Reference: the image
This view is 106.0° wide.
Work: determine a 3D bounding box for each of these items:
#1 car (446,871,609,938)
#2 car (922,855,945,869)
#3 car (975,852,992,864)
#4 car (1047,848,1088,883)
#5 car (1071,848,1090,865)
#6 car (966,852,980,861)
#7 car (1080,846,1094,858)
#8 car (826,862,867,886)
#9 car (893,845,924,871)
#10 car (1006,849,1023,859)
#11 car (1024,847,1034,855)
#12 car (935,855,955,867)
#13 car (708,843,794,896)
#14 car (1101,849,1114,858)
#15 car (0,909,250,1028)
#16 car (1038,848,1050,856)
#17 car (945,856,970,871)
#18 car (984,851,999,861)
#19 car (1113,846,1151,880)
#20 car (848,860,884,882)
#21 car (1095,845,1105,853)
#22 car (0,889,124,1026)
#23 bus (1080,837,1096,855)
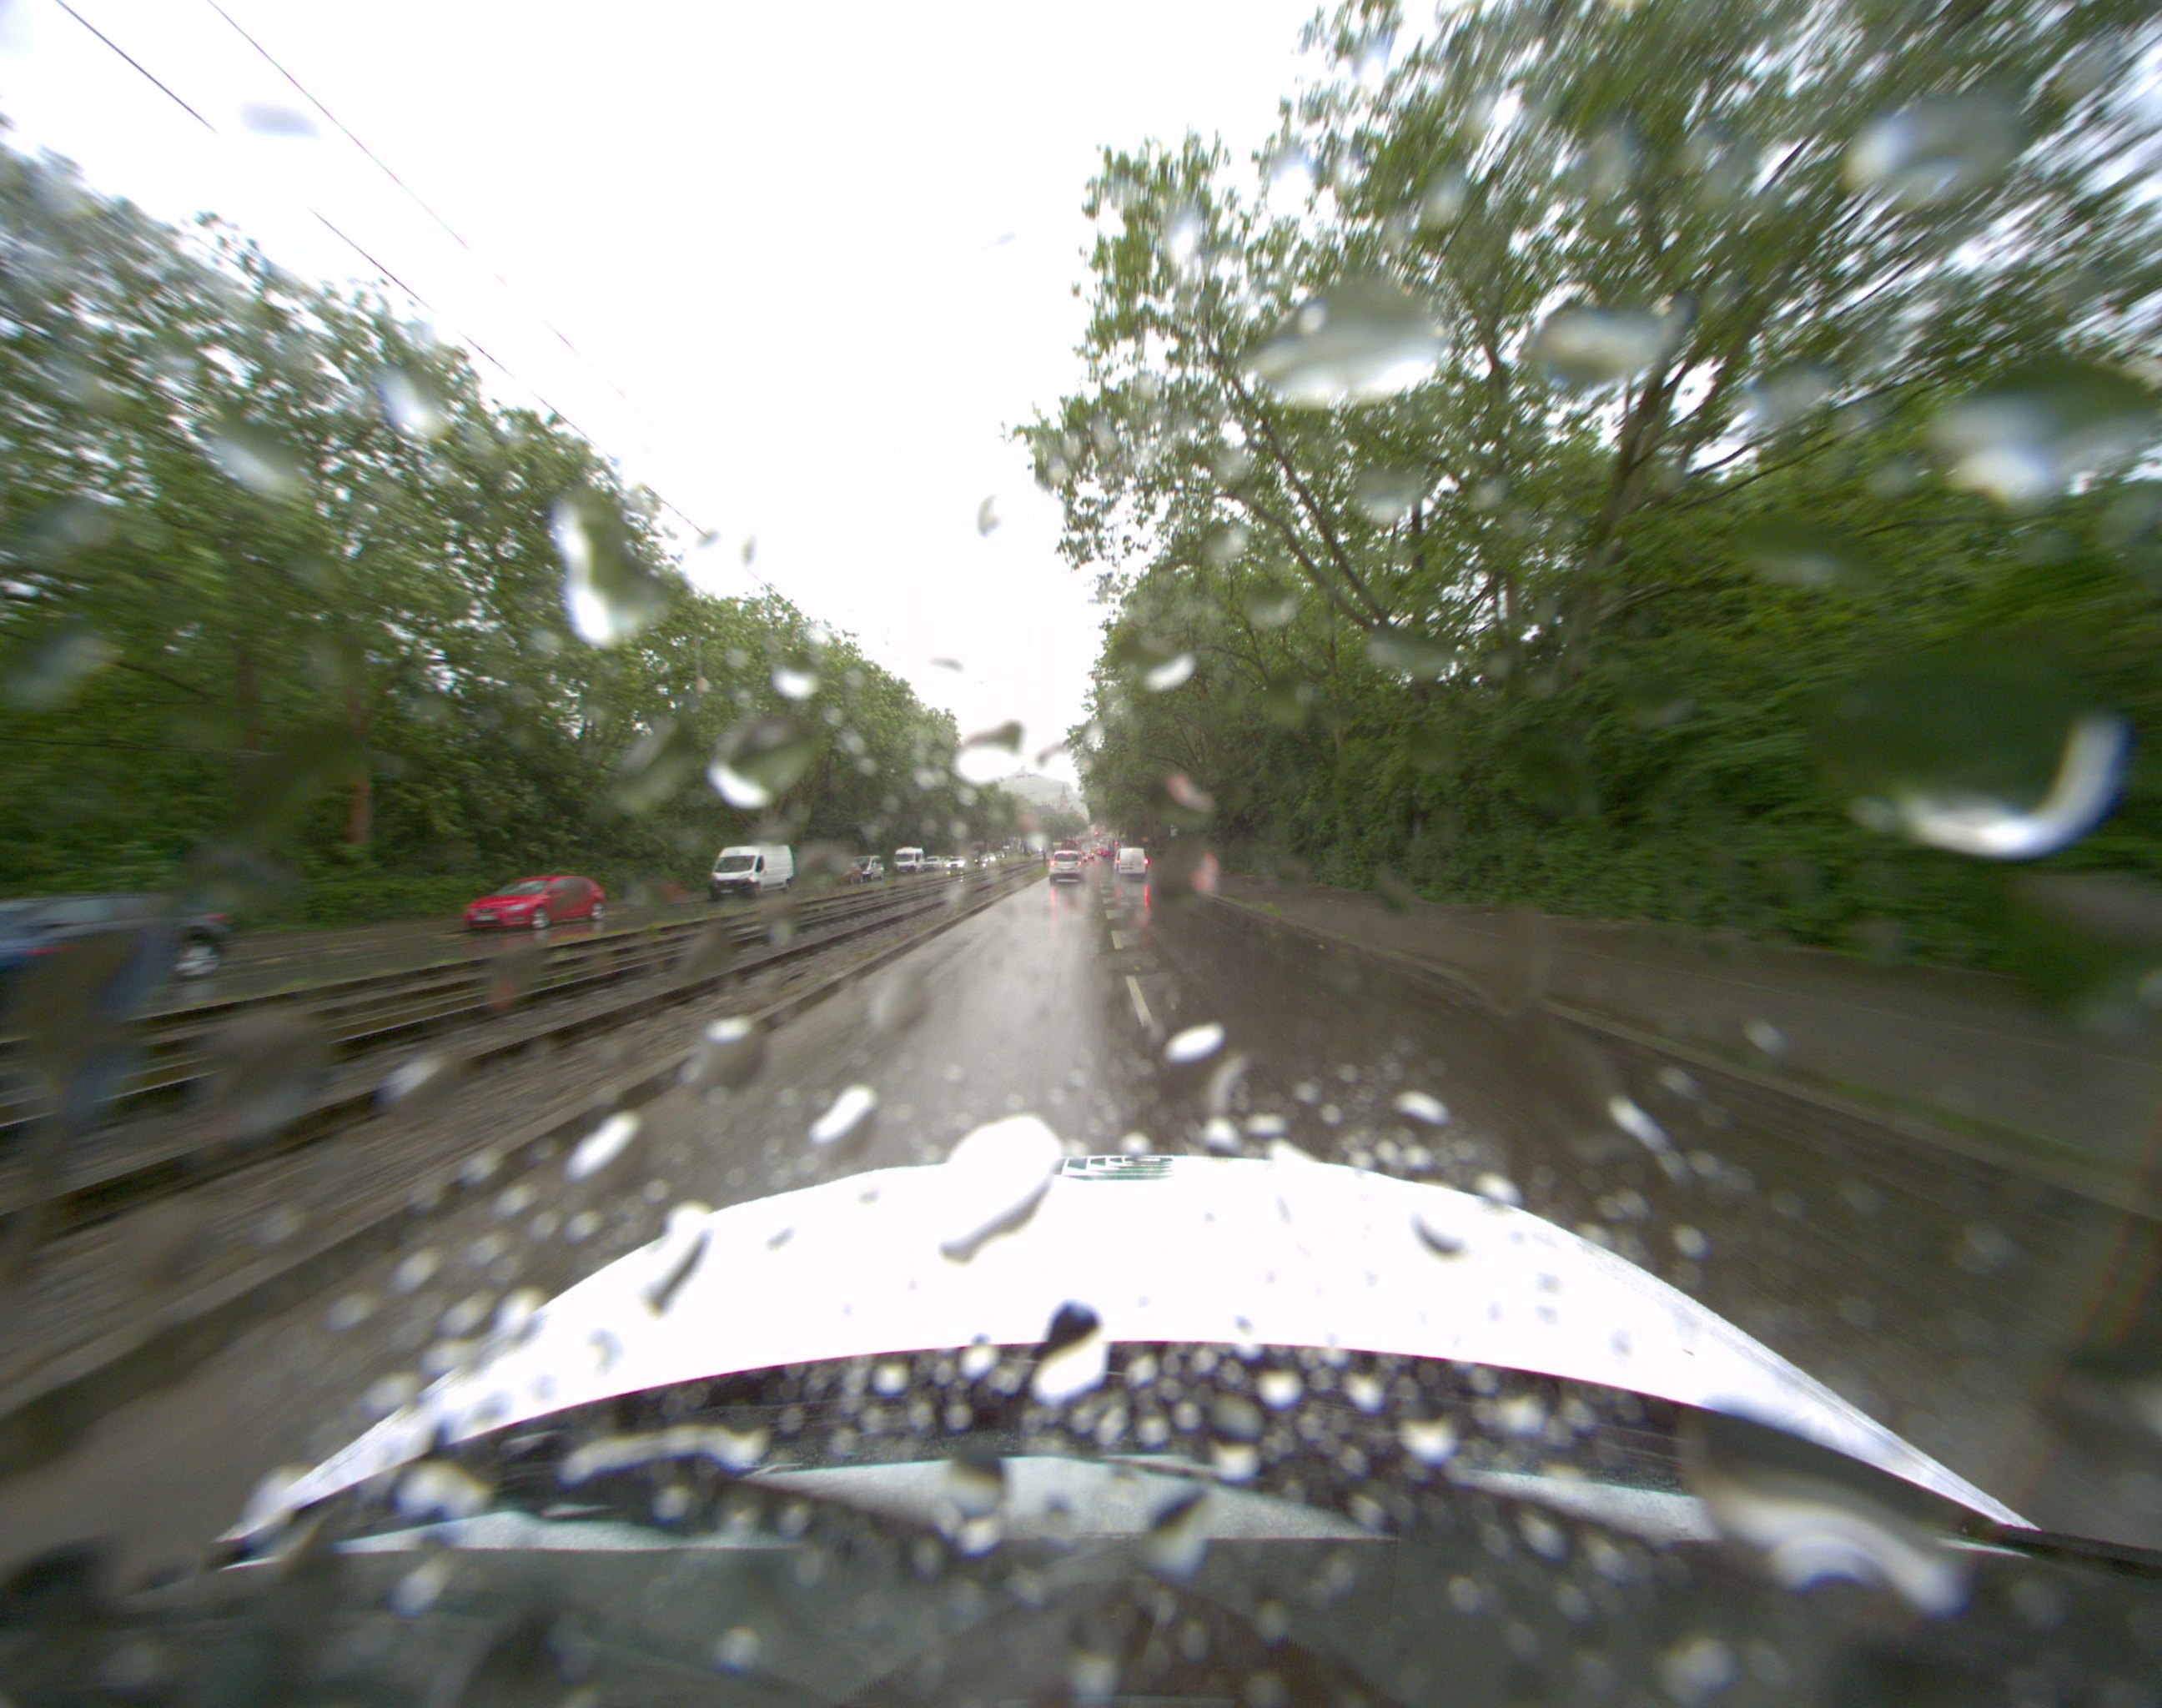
[{"bbox_3d":[-15.474,1.358,23.095,1.604,1.442,4.262,-3,1,0],"label":"car"},{"bbox_3d":[-16.495,0.838,91.311,1.799,1.350,4.263,-3,1,0],"label":"car"},{"bbox_3d":[-13.222,0.568,110.477,1.799,1.350,4.263,-3,1,0],"label":"car"},{"bbox_3d":[-0.655,0.572,43.118,1.986,1.716,4.002,0,1,2],"label":"car"},{"bbox_3d":[-0.053,0.237,90.120,1.986,1.826,4.002,0,1,2],"label":"car"},{"bbox_3d":[-18.645,0.369,140.301,1.799,1.350,4.263,-3,1,0],"label":"car"},{"bbox_3d":[0.899,-0.352,124.689,1.986,1.826,4.002,0,1,2],"label":"car"},{"bbox_3d":[-15.634,1.311,54.391,1.501,1.350,4.027,-3,1,0],"label":"car"},{"bbox_3d":[-15.928,0.359,75.200,1.795,2.221,4.277,-3,1,0],"label":"car"},{"bbox_3d":[-11.114,0.012,137.065,1.794,1.350,4.275,-3,1,9],"label":"car"},{"bbox_3d":[-10.315,-0.539,161.795,1.799,1.350,4.263,-3,1,0],"label":"car"},{"bbox_3d":[-18.127,0.930,108.766,1.799,1.350,4.263,-3,1,0],"label":"car"},{"bbox_3d":[-15.613,0.655,38.938,1.736,2.169,5.811,-4,1,-1],"label":"car"},{"bbox_3d":[4.072,-0.093,123.602,1.986,1.321,4.002,0,1,2],"label":"car"},{"bbox_3d":[-15.252,1.699,12.089,1.501,1.292,4.096,-3,1,1],"label":"car"},{"bbox_3d":[-7.064,-0.422,155.979,1.796,1.350,4.270,-3,1,5],"label":"car"},{"bbox_3d":[-12.593,0.950,83.226,1.799,1.350,4.263,-3,1,0],"label":"car"},{"bbox_3d":[-13.963,0.228,127.043,1.799,1.350,4.263,-3,1,0],"label":"car"},{"bbox_3d":[2.748,0.477,44.697,1.986,1.726,4.002,0,1,2],"label":"car"},{"bbox_3d":[-15.844,1.222,60.212,1.501,1.350,4.027,-3,1,0],"label":"car"},{"bbox_3d":[4.164,-1.090,178.838,1.986,1.826,4.002,0,1,2],"label":"car"},{"bbox_3d":[-12.411,1.217,7.496,1.501,1.400,4.708,-3,1,1],"label":"car"},{"bbox_3d":[1.553,-1.877,186.396,3.376,3.836,9.744,0,1,2],"label":"bus"}]
